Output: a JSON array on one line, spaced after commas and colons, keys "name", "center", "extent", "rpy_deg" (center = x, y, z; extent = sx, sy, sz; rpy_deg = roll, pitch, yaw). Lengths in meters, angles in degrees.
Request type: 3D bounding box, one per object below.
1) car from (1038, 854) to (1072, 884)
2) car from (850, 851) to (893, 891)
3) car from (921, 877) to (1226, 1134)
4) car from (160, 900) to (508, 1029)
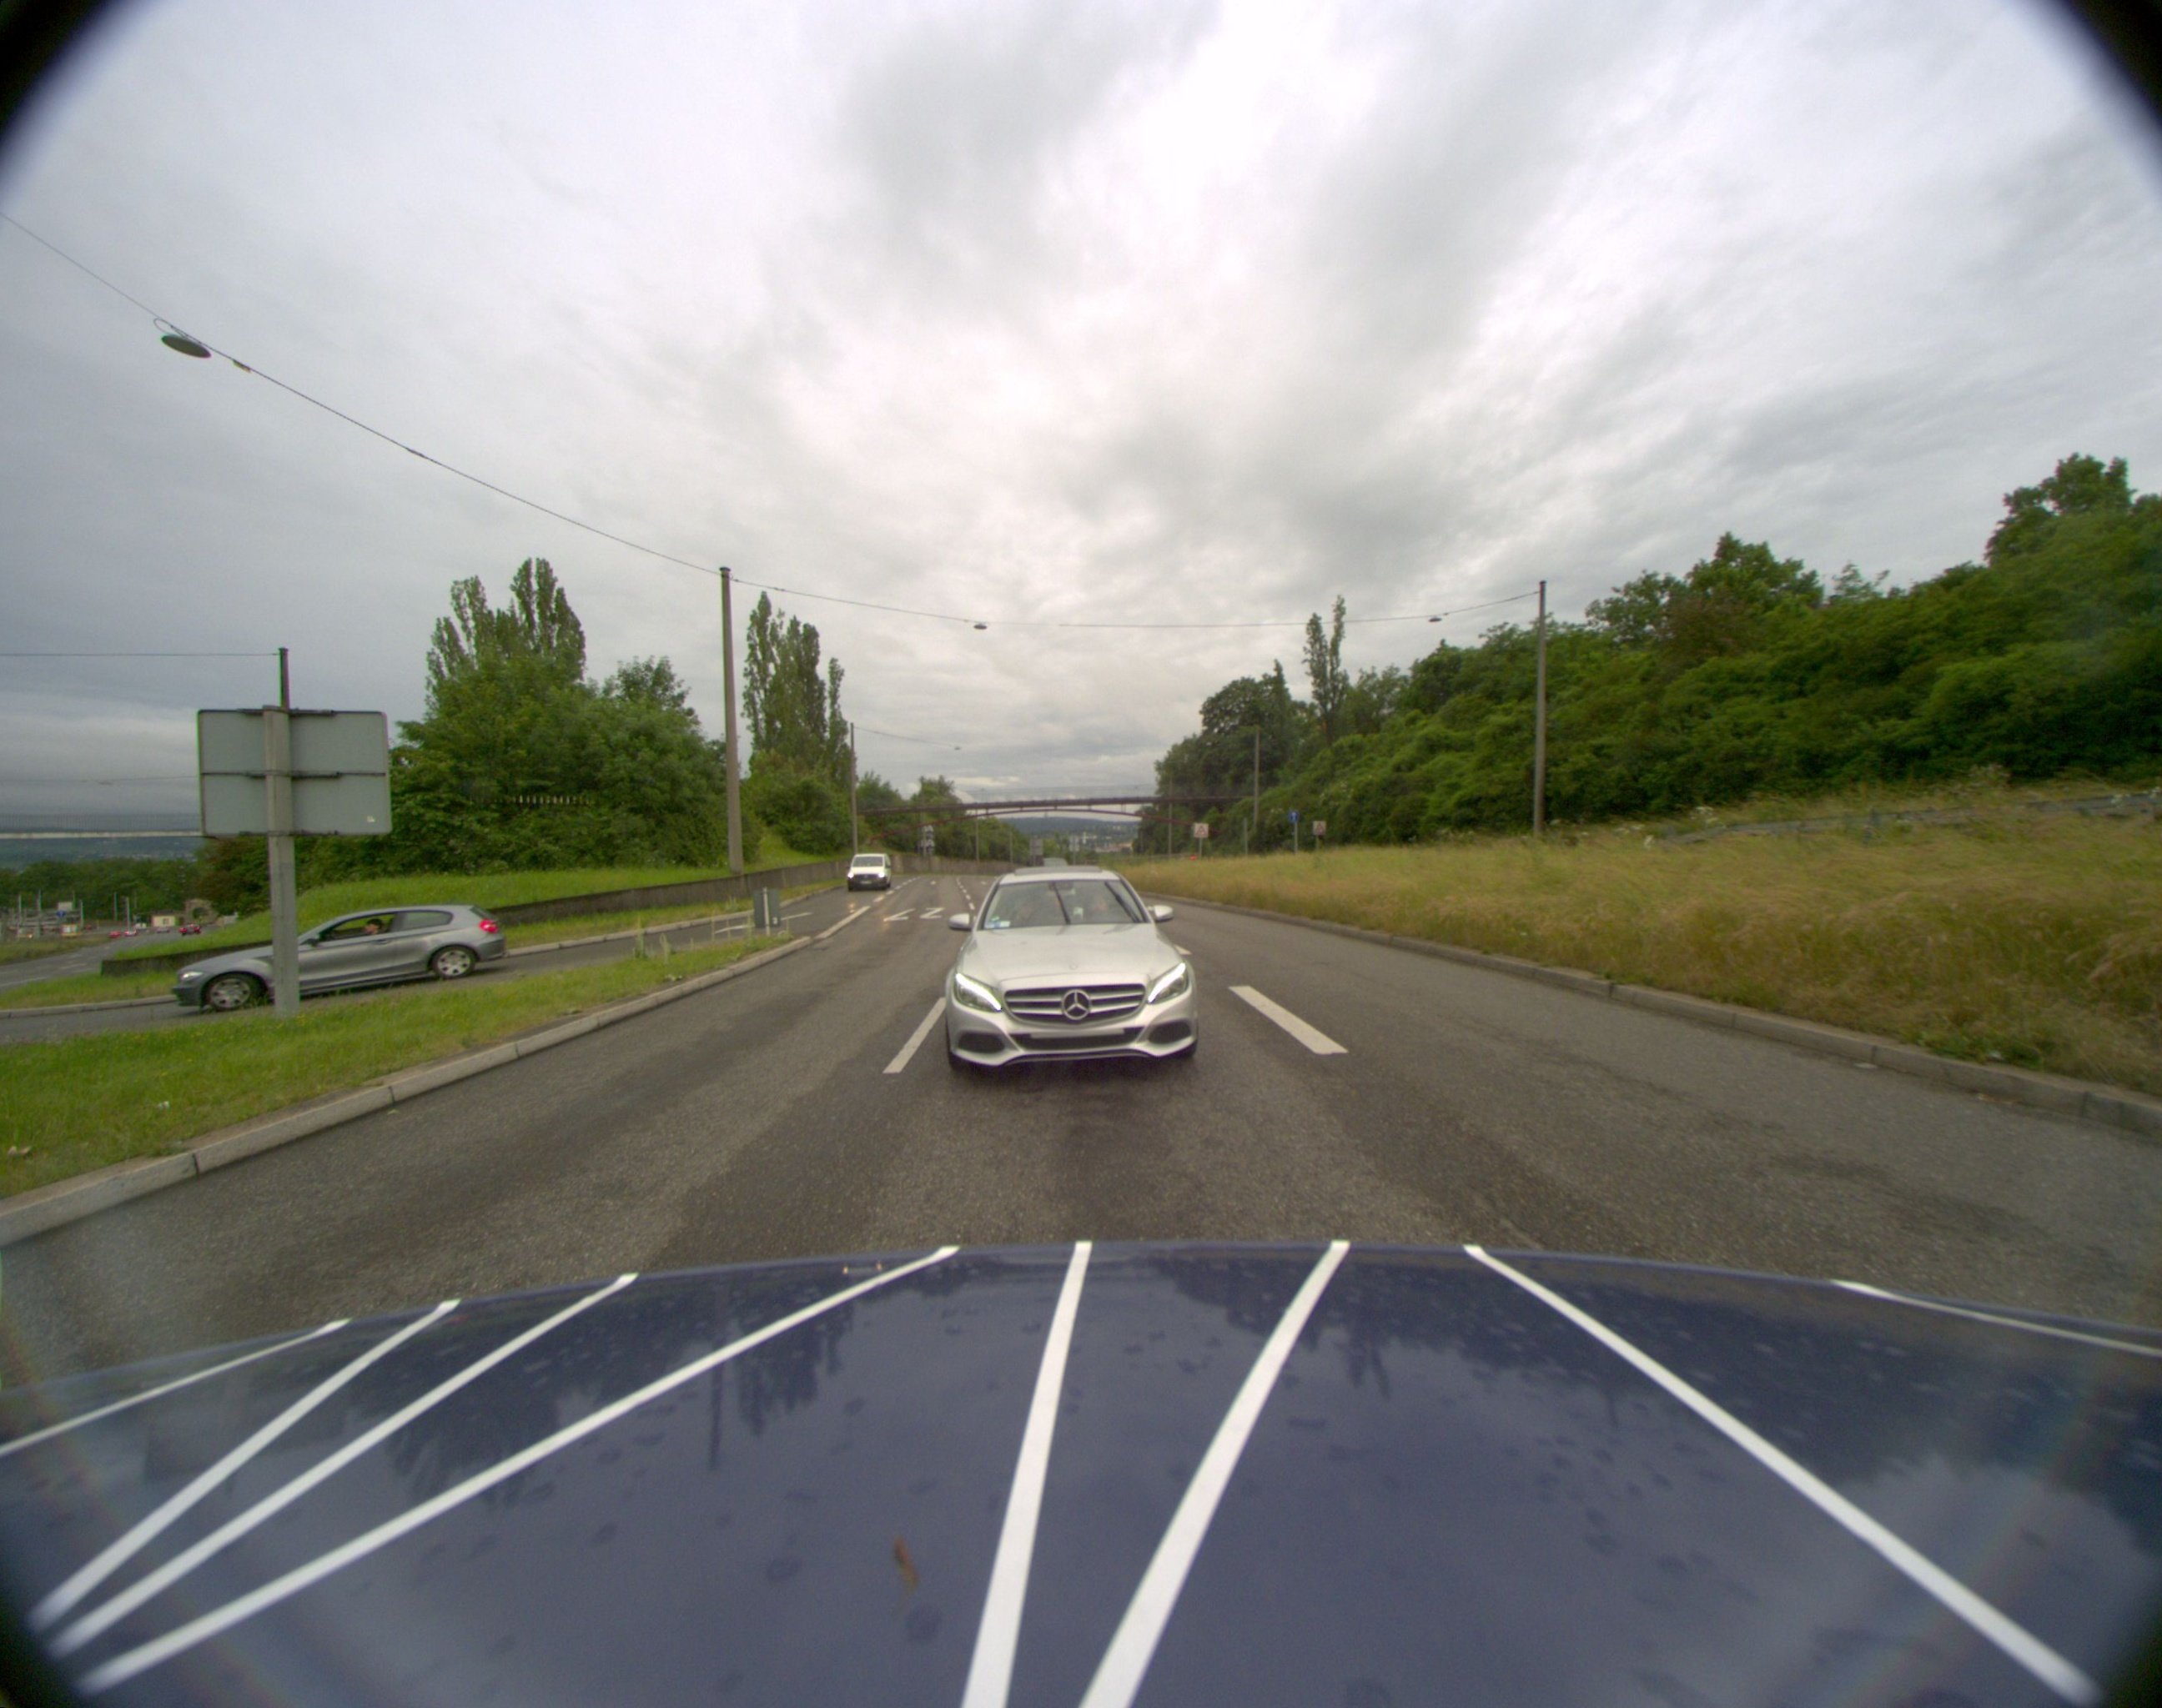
[{"name": "car", "center": [-1.490, 0.847, 42.451], "extent": [1.647, 1.495, 3.777], "rpy_deg": [-2, -1, -5]}, {"name": "car", "center": [-10.901, 0.830, 39.812], "extent": [2.001, 1.838, 4.817], "rpy_deg": [-1, 1, -13]}, {"name": "car", "center": [-0.212, 1.010, 6.861], "extent": [1.895, 1.360, 4.132], "rpy_deg": [-2, 1, -5]}, {"name": "car", "center": [-12.852, 1.799, 13.462], "extent": [4.088, 1.412, 1.681], "rpy_deg": [-6, 4, -41]}]
